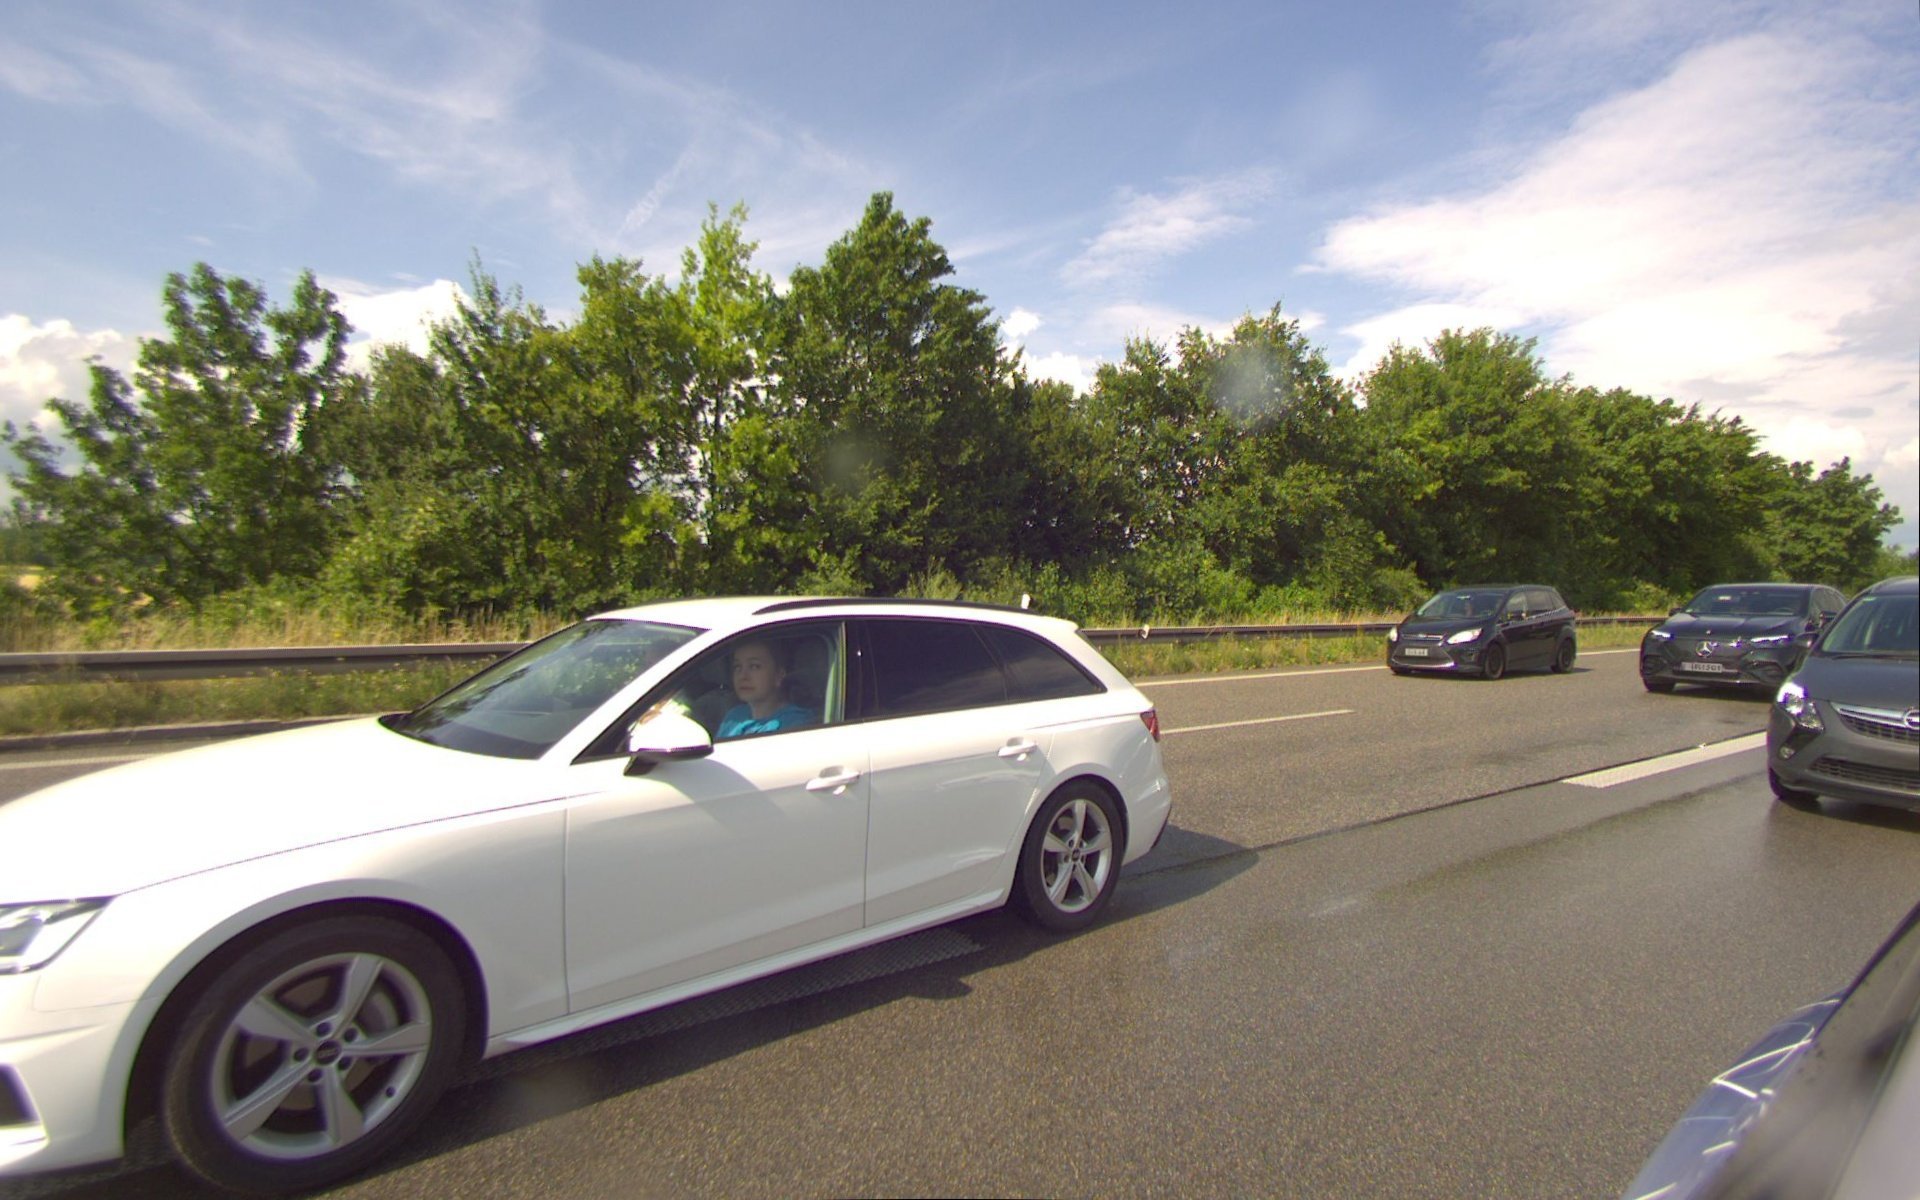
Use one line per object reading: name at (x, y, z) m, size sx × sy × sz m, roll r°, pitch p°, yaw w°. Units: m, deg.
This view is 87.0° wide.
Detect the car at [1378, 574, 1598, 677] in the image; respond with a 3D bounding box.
car at (9.503, 0.387, 18.101) m, size 4.282 × 1.641 × 1.826 m, roll 0°, pitch 0°, yaw -37°

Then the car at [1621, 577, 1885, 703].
car at (11.919, 0.488, 15.115) m, size 4.567 × 1.601 × 1.999 m, roll 0°, pitch 1°, yaw -37°

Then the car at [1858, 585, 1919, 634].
car at (32.958, 0.285, 35.233) m, size 4.207 × 1.606 × 1.753 m, roll -1°, pitch 1°, yaw -37°

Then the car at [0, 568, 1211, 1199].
car at (-1.077, 0.628, 3.981) m, size 4.434 × 1.443 × 1.830 m, roll -1°, pitch 3°, yaw -42°

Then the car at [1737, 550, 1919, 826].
car at (7.554, 0.524, 7.394) m, size 4.315 × 1.668 × 1.884 m, roll 0°, pitch 1°, yaw -37°
